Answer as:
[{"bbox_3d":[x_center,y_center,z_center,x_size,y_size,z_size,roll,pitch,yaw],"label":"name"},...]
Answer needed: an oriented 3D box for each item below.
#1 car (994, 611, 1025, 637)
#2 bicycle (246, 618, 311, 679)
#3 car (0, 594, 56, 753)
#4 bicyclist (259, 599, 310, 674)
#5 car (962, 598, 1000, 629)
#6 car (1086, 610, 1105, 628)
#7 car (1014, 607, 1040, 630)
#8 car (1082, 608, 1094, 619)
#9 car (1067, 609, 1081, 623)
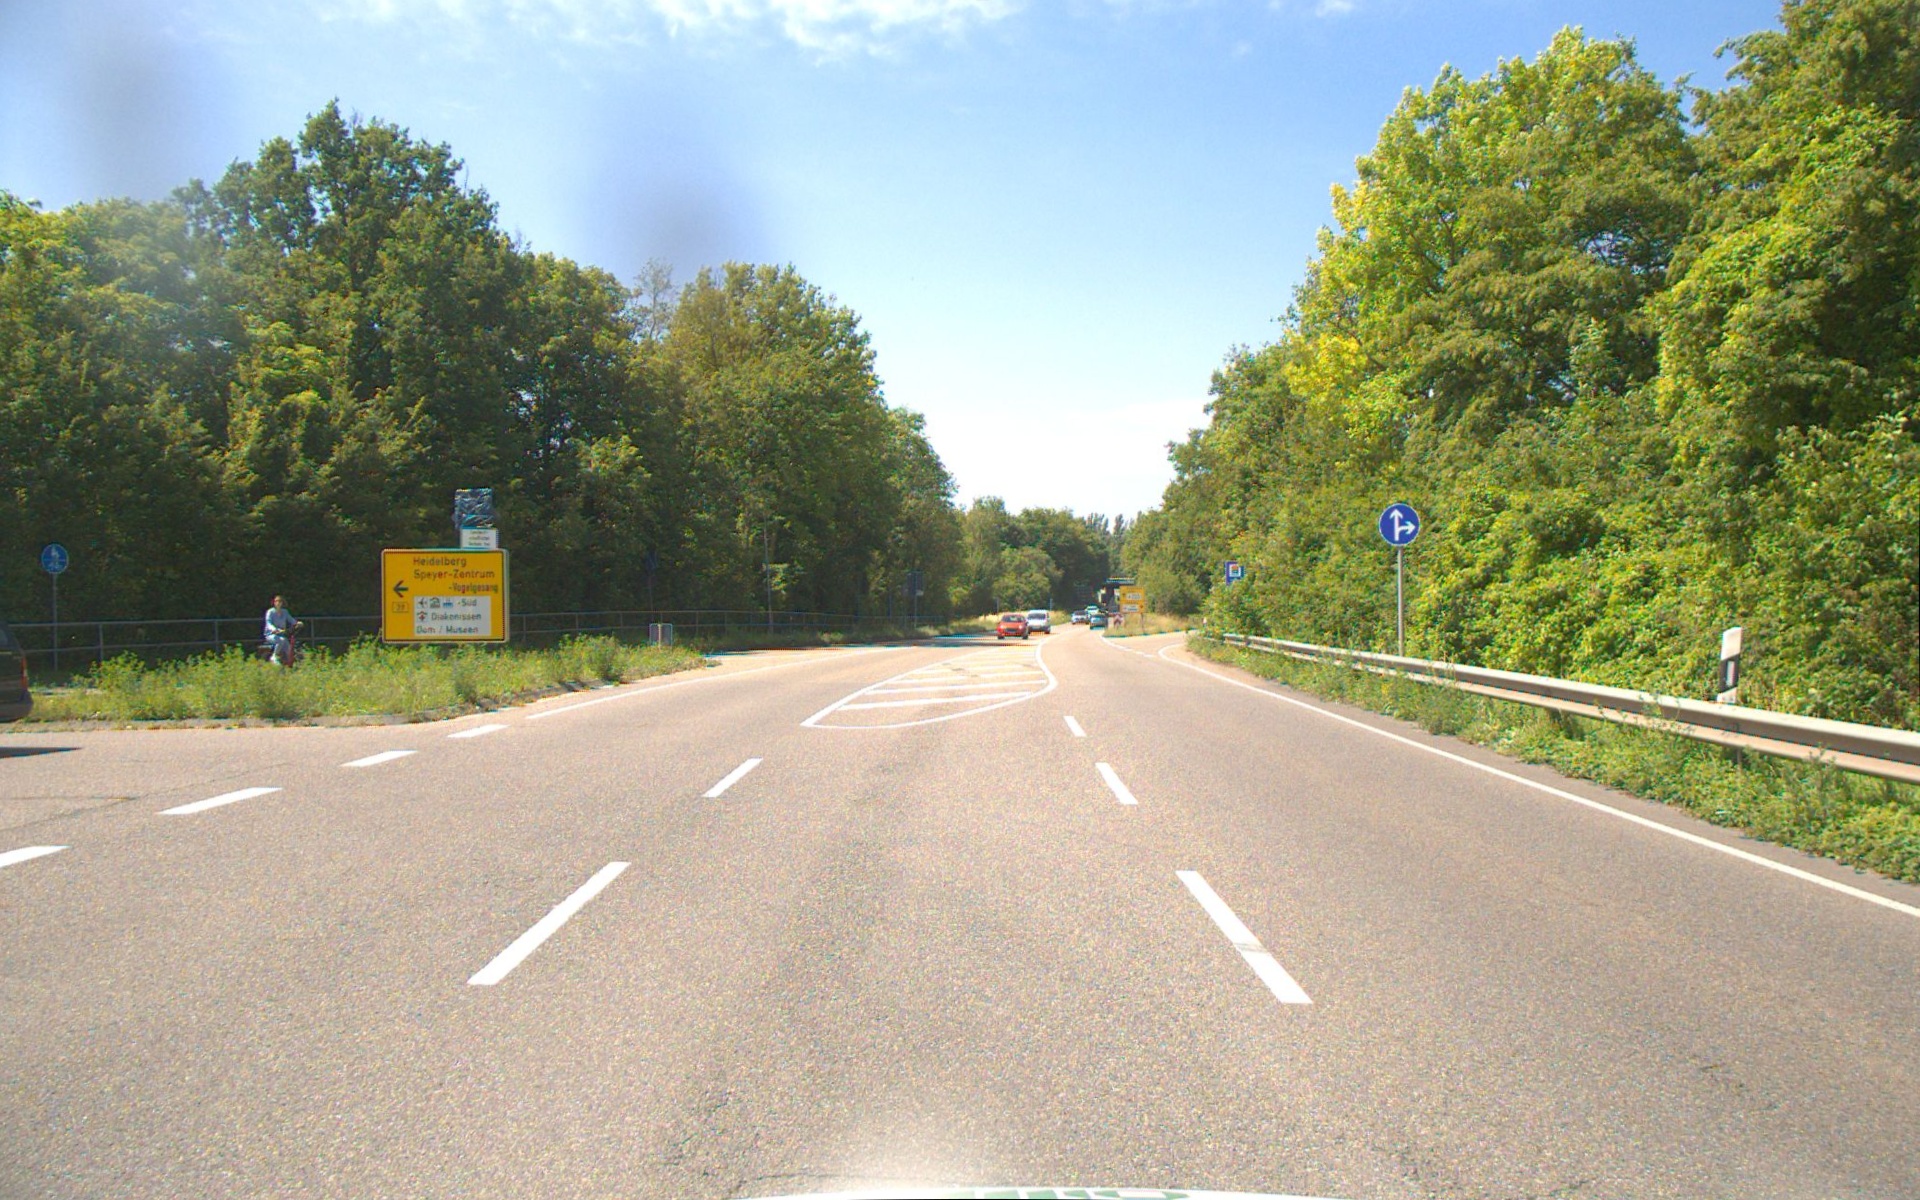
[{"bbox_3d":[2.947,1.389,97.615,1.772,1.483,3.759,0,0,2],"label":"car"},{"bbox_3d":[-12.848,0.902,31.160,1.452,1.133,0.435,0,-1,36],"label":"bicycle"},{"bbox_3d":[-10.835,0.734,15.745,3.704,1.482,1.727,-1,0,14],"label":"car"},{"bbox_3d":[-12.681,0.681,31.046,0.597,1.387,0.687,0,-1,36],"label":"bicyclist"},{"bbox_3d":[2.225,1.394,178.207,1.971,3.282,4.763,0,0,-29],"label":"car"},{"bbox_3d":[13.440,1.849,163.987,1.805,1.714,4.002,0,1,3],"label":"car"},{"bbox_3d":[5.200,1.427,128.123,1.952,1.760,4.276,0,0,3],"label":"car"},{"bbox_3d":[18.818,1.999,242.798,1.683,1.555,3.712,0,0,6],"label":"car"},{"bbox_3d":[13.631,1.930,197.165,1.642,1.554,4.002,0,0,4],"label":"car"}]
